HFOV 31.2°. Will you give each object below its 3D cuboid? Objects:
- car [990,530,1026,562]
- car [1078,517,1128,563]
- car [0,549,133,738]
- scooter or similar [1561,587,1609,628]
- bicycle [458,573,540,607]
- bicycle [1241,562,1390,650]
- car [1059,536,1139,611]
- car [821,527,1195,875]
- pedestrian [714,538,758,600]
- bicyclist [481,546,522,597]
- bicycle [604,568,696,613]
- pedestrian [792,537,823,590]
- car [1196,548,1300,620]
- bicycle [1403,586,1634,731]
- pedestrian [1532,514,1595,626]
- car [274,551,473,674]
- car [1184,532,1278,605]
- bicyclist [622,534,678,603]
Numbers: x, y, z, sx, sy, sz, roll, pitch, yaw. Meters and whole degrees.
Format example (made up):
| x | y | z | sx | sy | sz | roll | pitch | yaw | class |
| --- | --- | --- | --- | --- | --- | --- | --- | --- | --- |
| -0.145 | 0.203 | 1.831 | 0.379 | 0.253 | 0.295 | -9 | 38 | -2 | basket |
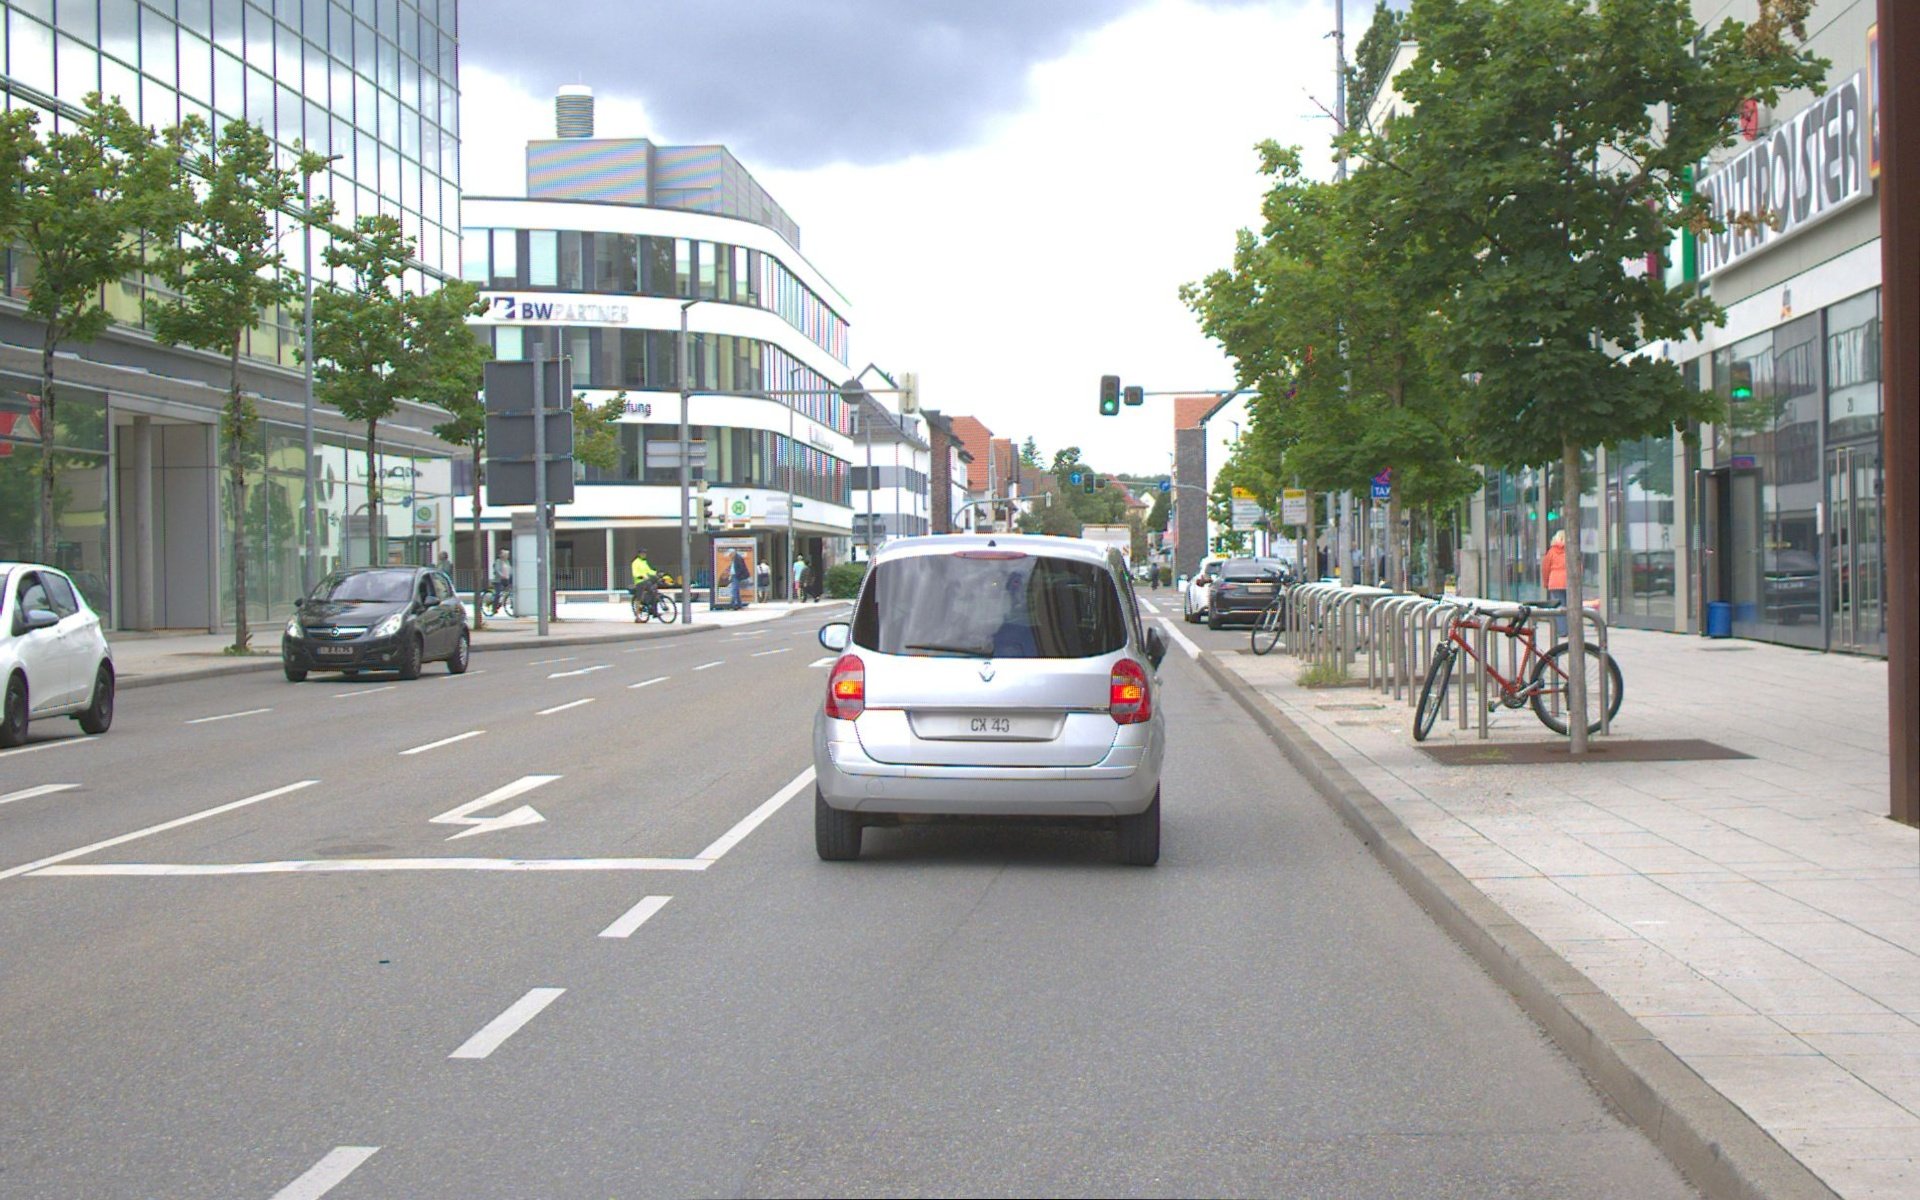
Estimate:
| x | y | z | sx | sy | sz | roll | pitch | yaw | class |
| --- | --- | --- | --- | --- | --- | --- | --- | --- | --- |
| 3.197 | -3.592 | 228.448 | 2.170 | 2.007 | 4.258 | -1 | 1 | 3 | car |
| 6.456 | -2.691 | 154.956 | 2.170 | 2.007 | 4.258 | -1 | 1 | 3 | car |
| -8.215 | 0.333 | 28.298 | 1.660 | 1.460 | 4.000 | -2 | 1 | 3 | car |
| 8.867 | 0.106 | 48.775 | 0.550 | 0.544 | 0.642 | -4 | 1 | 3 | scooter or similar |
| -12.232 | -0.267 | 91.160 | 0.827 | 0.895 | 2.524 | -1 | 1 | -43 | bicycle |
| 4.576 | 0.070 | 44.337 | 1.825 | 1.071 | 0.752 | -2 | 1 | 1 | bicycle |
| 3.045 | -0.598 | 75.468 | 1.670 | 1.549 | 3.642 | 1 | 1 | 2 | car |
| 0.223 | 0.429 | 17.518 | 1.669 | 1.549 | 3.642 | 1 | 1 | 0 | car |
| -6.748 | -0.944 | 103.395 | 1.246 | 1.827 | 0.964 | -1 | 1 | -6 | pedestrian |
| -12.141 | -0.751 | 91.054 | 0.827 | 1.322 | 0.651 | -1 | 1 | -43 | bicyclist |
| -7.580 | -0.232 | 83.927 | 1.006 | 1.015 | 3.130 | 1 | 1 | -30 | bicycle |
| -5.390 | -1.295 | 121.464 | 0.960 | 1.827 | 1.250 | -1 | 1 | 3 | pedestrian |
| 5.719 | -0.333 | 68.629 | 1.877 | 1.330 | 4.000 | 2 | 1 | 3 | car |
| 3.946 | 0.407 | 24.385 | 1.561 | 0.989 | 0.752 | -1 | 1 | 6 | bicycle |
| 8.705 | -0.438 | 49.626 | 0.710 | 1.569 | 0.812 | -4 | 1 | 3 | pedestrian |
| -7.566 | 0.128 | 44.680 | 1.660 | 1.475 | 4.000 | -1 | 1 | 3 | car |
| 5.893 | -0.703 | 75.053 | 1.877 | 1.503 | 4.000 | 2 | 1 | 3 | car |
| -7.570 | -0.774 | 83.935 | 1.006 | 1.655 | 0.933 | 1 | 0 | -30 | bicyclist |
